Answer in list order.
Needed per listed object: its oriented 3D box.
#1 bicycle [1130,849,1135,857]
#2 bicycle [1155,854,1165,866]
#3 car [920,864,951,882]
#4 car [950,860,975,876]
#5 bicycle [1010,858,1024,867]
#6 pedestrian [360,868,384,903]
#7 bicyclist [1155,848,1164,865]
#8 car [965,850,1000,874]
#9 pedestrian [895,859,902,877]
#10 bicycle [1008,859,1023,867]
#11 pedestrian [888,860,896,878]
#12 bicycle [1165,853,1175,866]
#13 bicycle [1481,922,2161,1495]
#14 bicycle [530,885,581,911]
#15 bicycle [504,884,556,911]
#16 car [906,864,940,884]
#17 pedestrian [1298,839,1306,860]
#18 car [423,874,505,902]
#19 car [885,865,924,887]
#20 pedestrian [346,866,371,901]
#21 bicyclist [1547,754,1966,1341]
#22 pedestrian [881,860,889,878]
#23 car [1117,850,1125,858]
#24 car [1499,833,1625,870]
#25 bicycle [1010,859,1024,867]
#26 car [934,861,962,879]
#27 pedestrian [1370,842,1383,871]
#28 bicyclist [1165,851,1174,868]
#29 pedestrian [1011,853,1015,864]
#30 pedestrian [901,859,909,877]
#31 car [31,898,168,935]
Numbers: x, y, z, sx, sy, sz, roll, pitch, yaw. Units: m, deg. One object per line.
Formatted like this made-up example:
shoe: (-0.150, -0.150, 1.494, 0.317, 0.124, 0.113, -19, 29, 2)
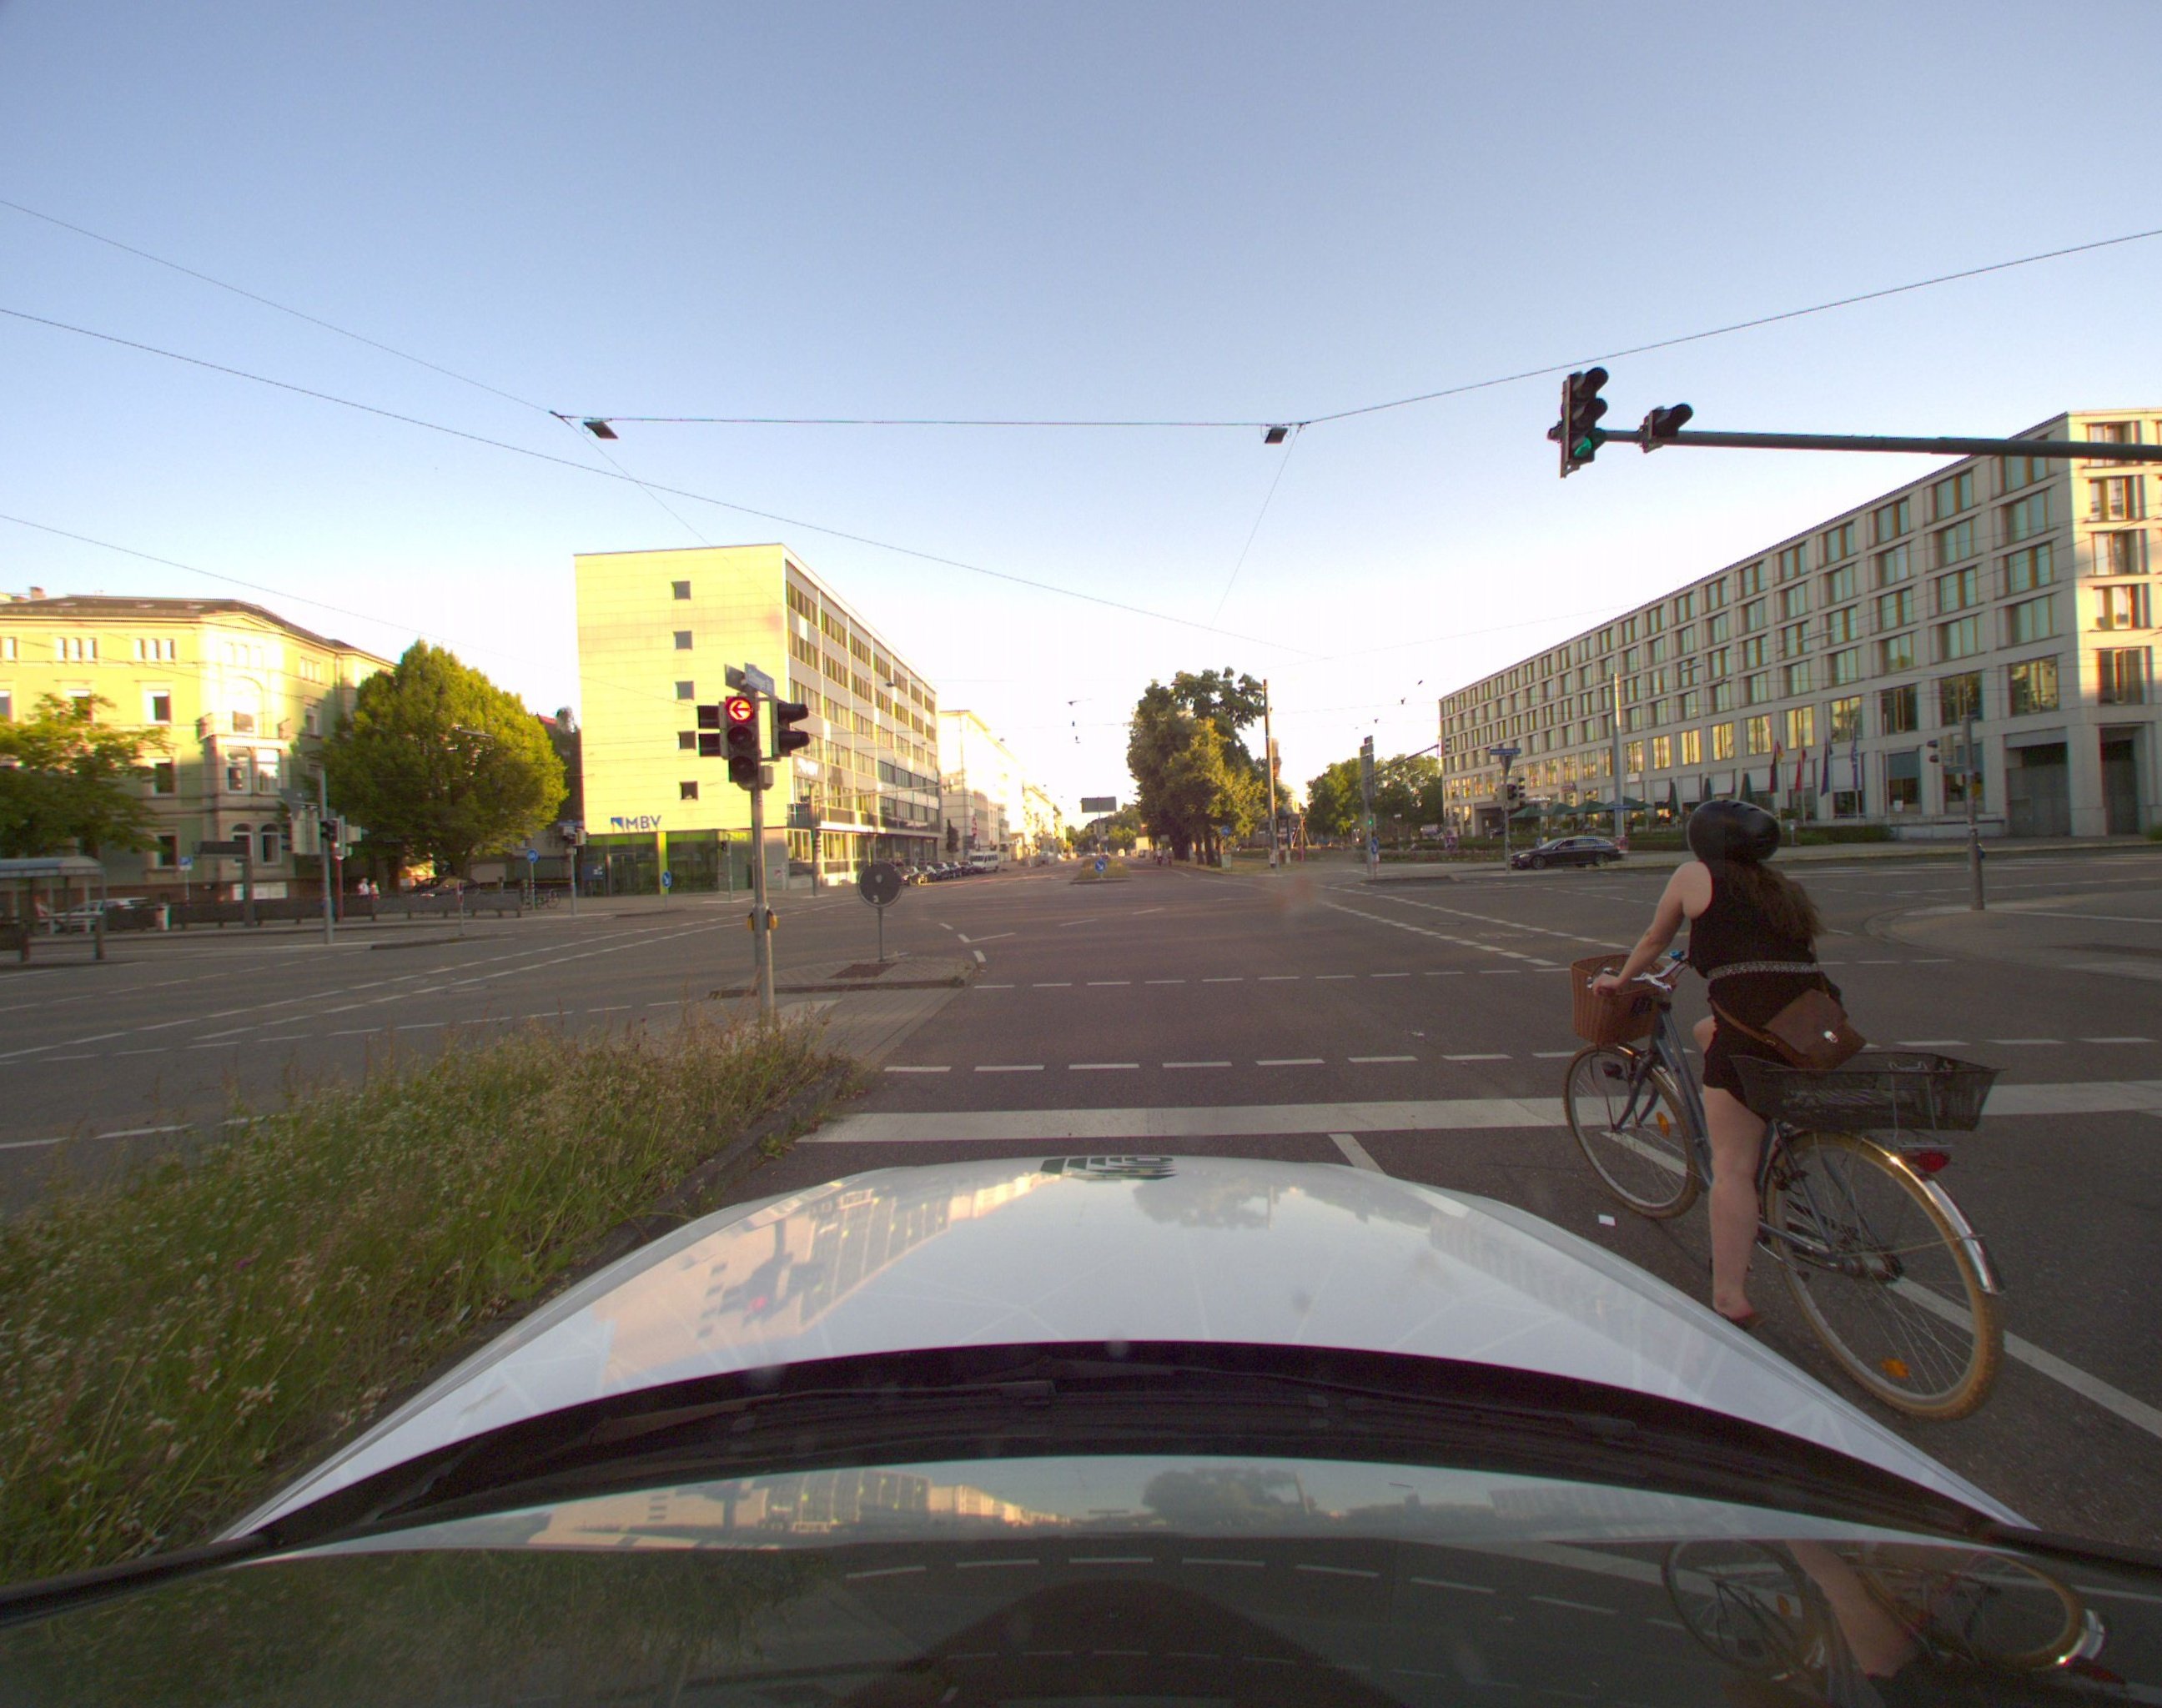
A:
bicycle: (13.169, -0.259, 208.609, 0.997, 2.013, 4.007, -3, 0, 6)
bicycle: (7.759, 0.552, 80.099, 0.744, 1.144, 2.506, -3, 0, 2)
car: (-13.107, 1.685, 73.717, 1.913, 1.464, 4.002, -3, 0, 2)
car: (-12.388, 1.448, 85.242, 1.913, 1.568, 4.002, -3, 0, 2)
bicycle: (-10.139, 1.313, 129.326, 2.198, 1.236, 0.839, -3, 0, 0)
pedestrian: (-37.684, 1.683, 43.311, 0.641, 1.790, 0.720, -3, 0, -12)
bicyclist: (7.744, 0.268, 79.877, 0.744, 1.663, 0.873, -3, 0, 1)
car: (-11.061, 0.868, 91.677, 1.988, 2.478, 5.888, -3, 0, 12)
pedestrian: (-17.016, 1.330, 75.936, 0.498, 1.679, 0.500, -3, 0, 1)
bicycle: (-10.090, 1.323, 125.905, 2.198, 1.112, 0.619, -3, 0, 0)
pedestrian: (-17.609, 1.368, 75.945, 0.549, 1.679, 0.500, -3, 0, 1)
bicycle: (8.706, 0.523, 79.906, 0.744, 1.144, 2.506, -3, 0, 2)
bicycle: (2.178, 0.893, 2.859, 0.609, 1.132, 2.005, -1, 0, 2)
bicycle: (-25.658, 2.124, 39.834, 0.832, 1.112, 2.216, -3, 0, 6)
bicycle: (-26.952, 2.113, 39.883, 0.832, 1.112, 2.216, -3, 0, 6)
car: (-13.315, 1.648, 68.904, 1.913, 1.464, 4.002, -3, 0, 2)
pedestrian: (17.804, -0.346, 65.580, 0.458, 1.656, 0.567, -3, 0, 1)
car: (-34.927, 1.911, 46.230, 1.830, 1.372, 3.594, -3, 0, 0)
car: (-13.511, 1.661, 62.408, 1.913, 1.464, 4.105, -3, 0, 2)
pedestrian: (-37.743, 1.548, 42.549, 0.641, 1.790, 0.720, -3, 0, -12)
bicyclist: (2.173, 0.541, 2.778, 0.597, 1.636, 0.999, -1, 0, 2)
pedestrian: (-18.150, 1.401, 75.420, 0.549, 1.679, 0.500, -3, 0, 1)
car: (8.548, -0.037, 173.608, 1.403, 1.641, 4.000, -3, 0, 1)
car: (23.085, -0.107, 39.210, 4.803, 1.515, 2.002, -3, 0, 4)
bicycle: (-10.006, 1.374, 127.425, 2.198, 1.112, 0.689, -3, 0, 0)
car: (-12.855, 1.576, 79.019, 1.913, 1.568, 4.002, -3, 0, 2)
pedestrian: (15.730, 0.125, 43.352, 0.489, 1.540, 0.408, -3, 0, 1)
bicyclist: (8.703, 0.524, 79.916, 0.744, 1.691, 0.799, -3, 0, 1)
pedestrian: (-13.835, 0.916, 165.344, 0.677, 2.013, 0.545, -3, 0, 1)
pedestrian: (-16.334, 1.296, 75.428, 0.549, 1.679, 0.500, -3, 0, 1)
car: (-45.266, 2.849, 37.658, 3.588, 1.372, 1.833, -3, 0, -15)
